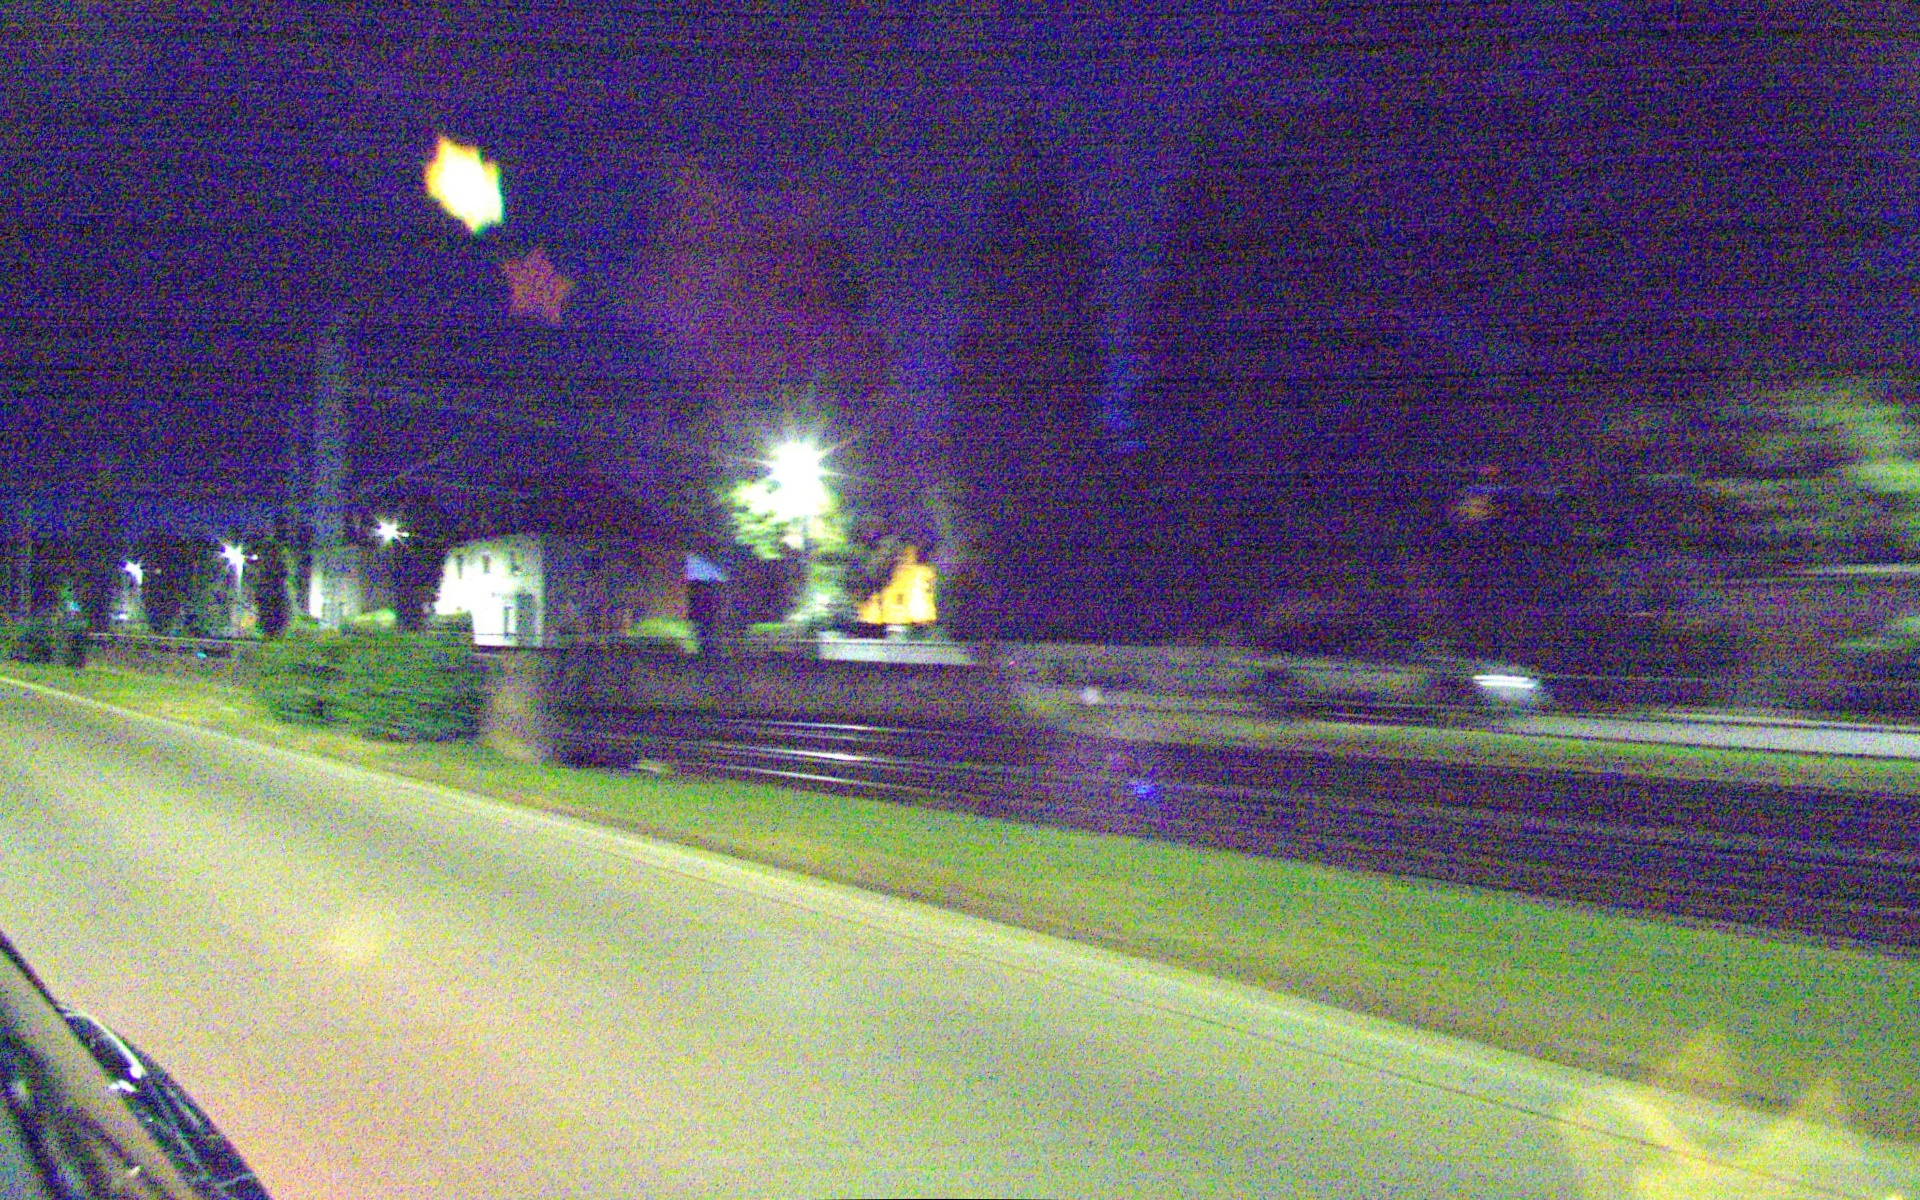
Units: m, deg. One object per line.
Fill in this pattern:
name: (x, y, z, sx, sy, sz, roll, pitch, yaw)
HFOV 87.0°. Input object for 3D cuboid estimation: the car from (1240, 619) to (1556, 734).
car: (6.575, 1.066, 15.413, 4.090, 1.516, 1.847, -1, -2, 39)
